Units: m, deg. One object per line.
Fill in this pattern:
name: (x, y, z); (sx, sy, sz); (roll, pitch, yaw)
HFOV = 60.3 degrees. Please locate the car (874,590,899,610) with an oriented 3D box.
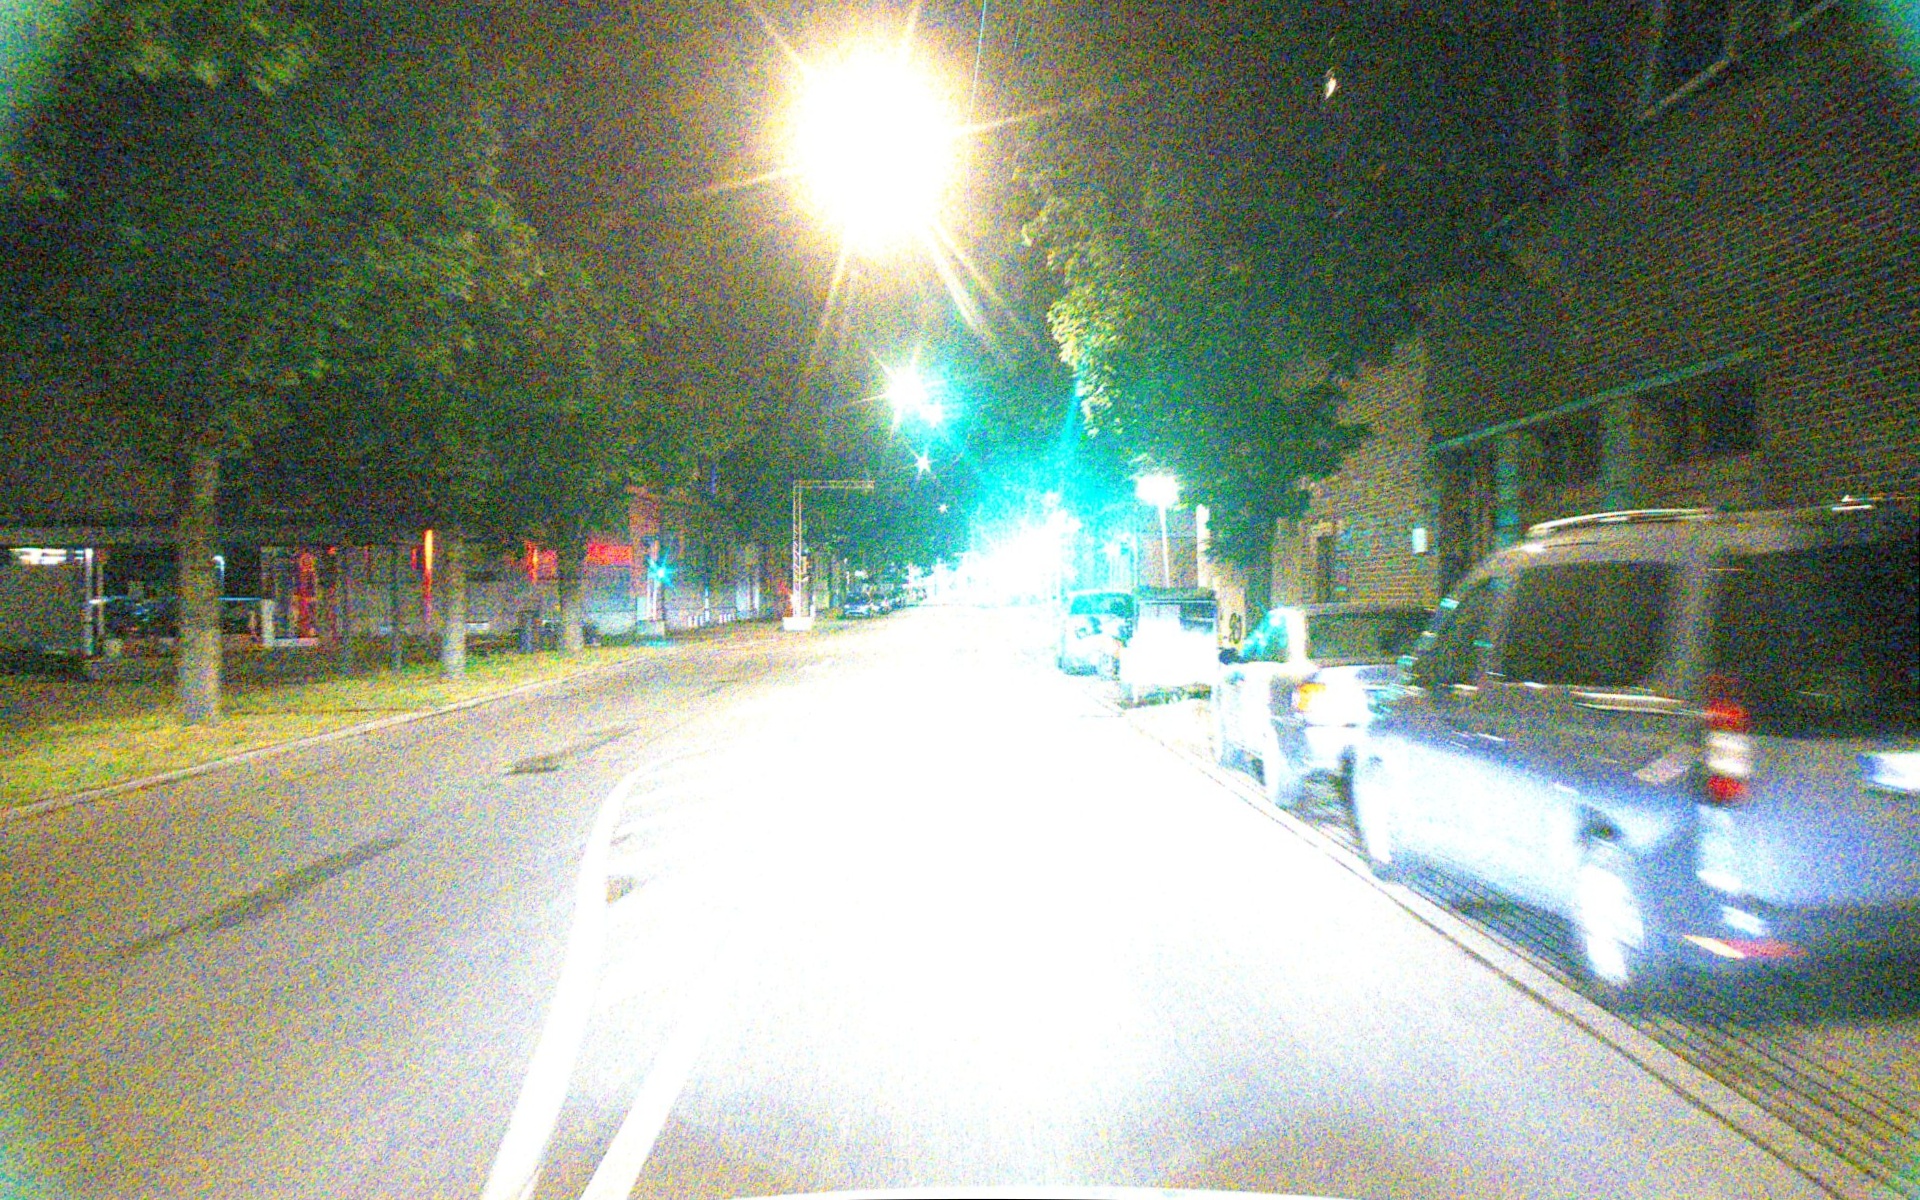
car: (-5.506, -0.009, 124.530); (1.705, 1.440, 3.751); (0, 0, -1)

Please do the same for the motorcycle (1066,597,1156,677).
motorcycle: (2.576, 0.605, 28.100); (0.625, 1.292, 2.058); (0, 0, 33)

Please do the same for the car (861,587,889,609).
car: (-5.672, -0.152, 110.895); (1.705, 1.440, 3.751); (0, 0, -1)

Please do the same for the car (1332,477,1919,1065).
car: (3.165, 0.501, 7.437); (1.736, 1.838, 4.275); (-2, 1, -3)

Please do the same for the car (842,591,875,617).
car: (-5.812, 0.193, 95.088); (1.705, 1.440, 3.751); (0, 0, -1)

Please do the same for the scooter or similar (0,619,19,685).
scooter or similar: (-15.982, 0.798, 26.347); (1.639, 1.025, 0.544); (2, 0, 1)

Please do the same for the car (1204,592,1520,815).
car: (2.996, 0.683, 13.091); (1.489, 1.420, 3.984); (-2, 1, 0)

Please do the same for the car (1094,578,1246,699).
car: (2.988, 0.492, 24.262); (1.559, 1.561, 4.137); (-2, 1, -1)

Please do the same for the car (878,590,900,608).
car: (-5.949, -0.120, 138.153); (1.705, 1.440, 3.751); (0, 0, -1)

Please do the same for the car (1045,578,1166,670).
car: (2.721, 0.401, 31.781); (1.816, 1.618, 4.299); (-1, 1, -1)
